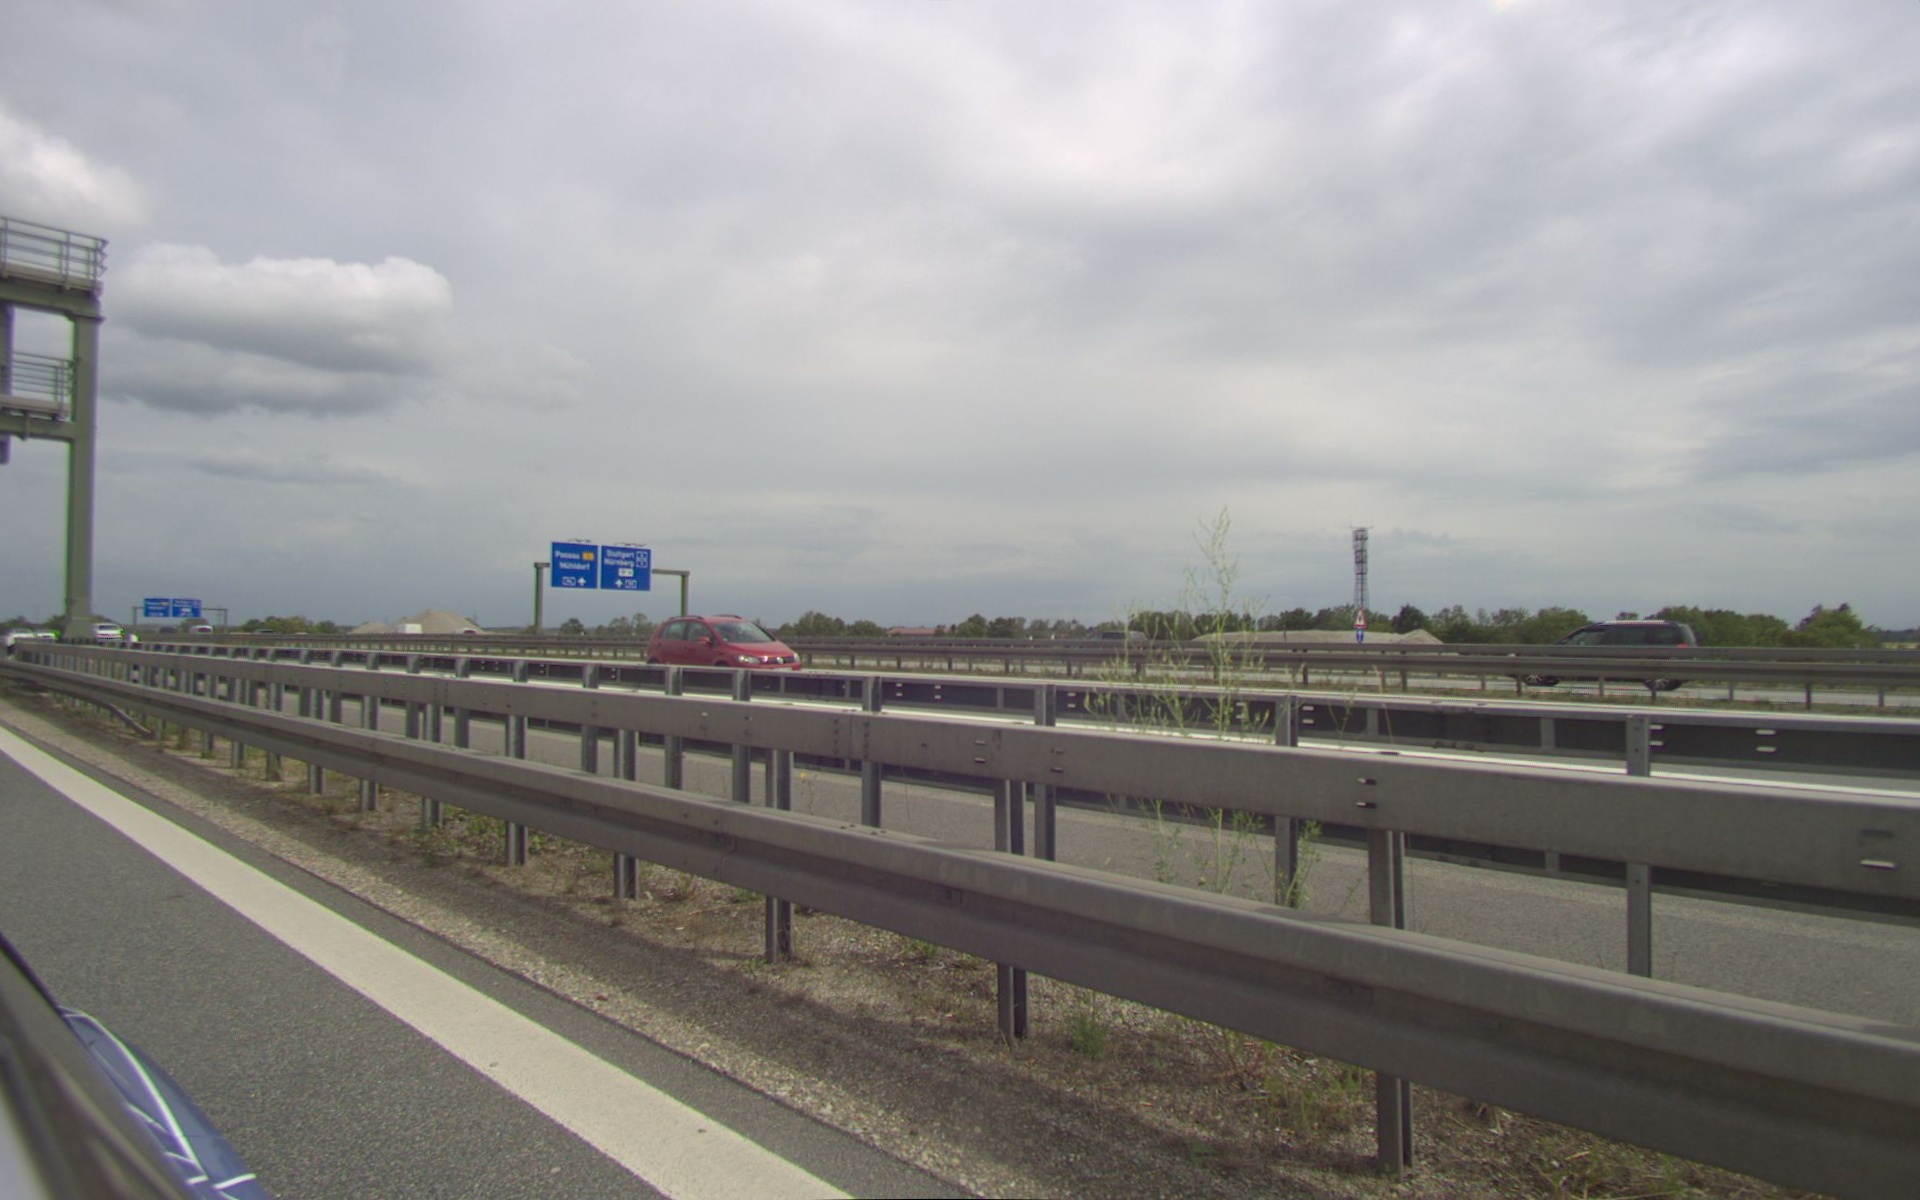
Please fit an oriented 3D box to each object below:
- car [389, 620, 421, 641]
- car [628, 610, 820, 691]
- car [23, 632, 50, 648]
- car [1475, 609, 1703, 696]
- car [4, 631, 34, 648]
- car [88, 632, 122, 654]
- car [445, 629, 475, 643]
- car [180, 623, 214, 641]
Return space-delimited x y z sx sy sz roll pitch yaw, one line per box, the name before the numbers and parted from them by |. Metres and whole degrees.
car | -65.898 3.633 120.099 4.489 2.323 1.972 -3 -2 42
car | -5.142 1.061 21.765 4.352 1.557 1.801 -3 -1 41
car | -115.232 5.055 126.251 3.997 1.896 1.973 -3 -1 40
car | 15.585 1.255 25.210 4.502 1.876 1.973 -2 1 42
car | -104.393 4.401 112.231 3.997 1.763 1.973 -3 -1 40
car | -83.652 4.205 98.983 4.465 2.029 1.972 -3 -2 42
car | -57.479 4.102 116.340 3.909 1.506 1.648 -1 2 42
car | -82.063 3.429 108.799 4.821 1.807 1.890 -2 2 42
